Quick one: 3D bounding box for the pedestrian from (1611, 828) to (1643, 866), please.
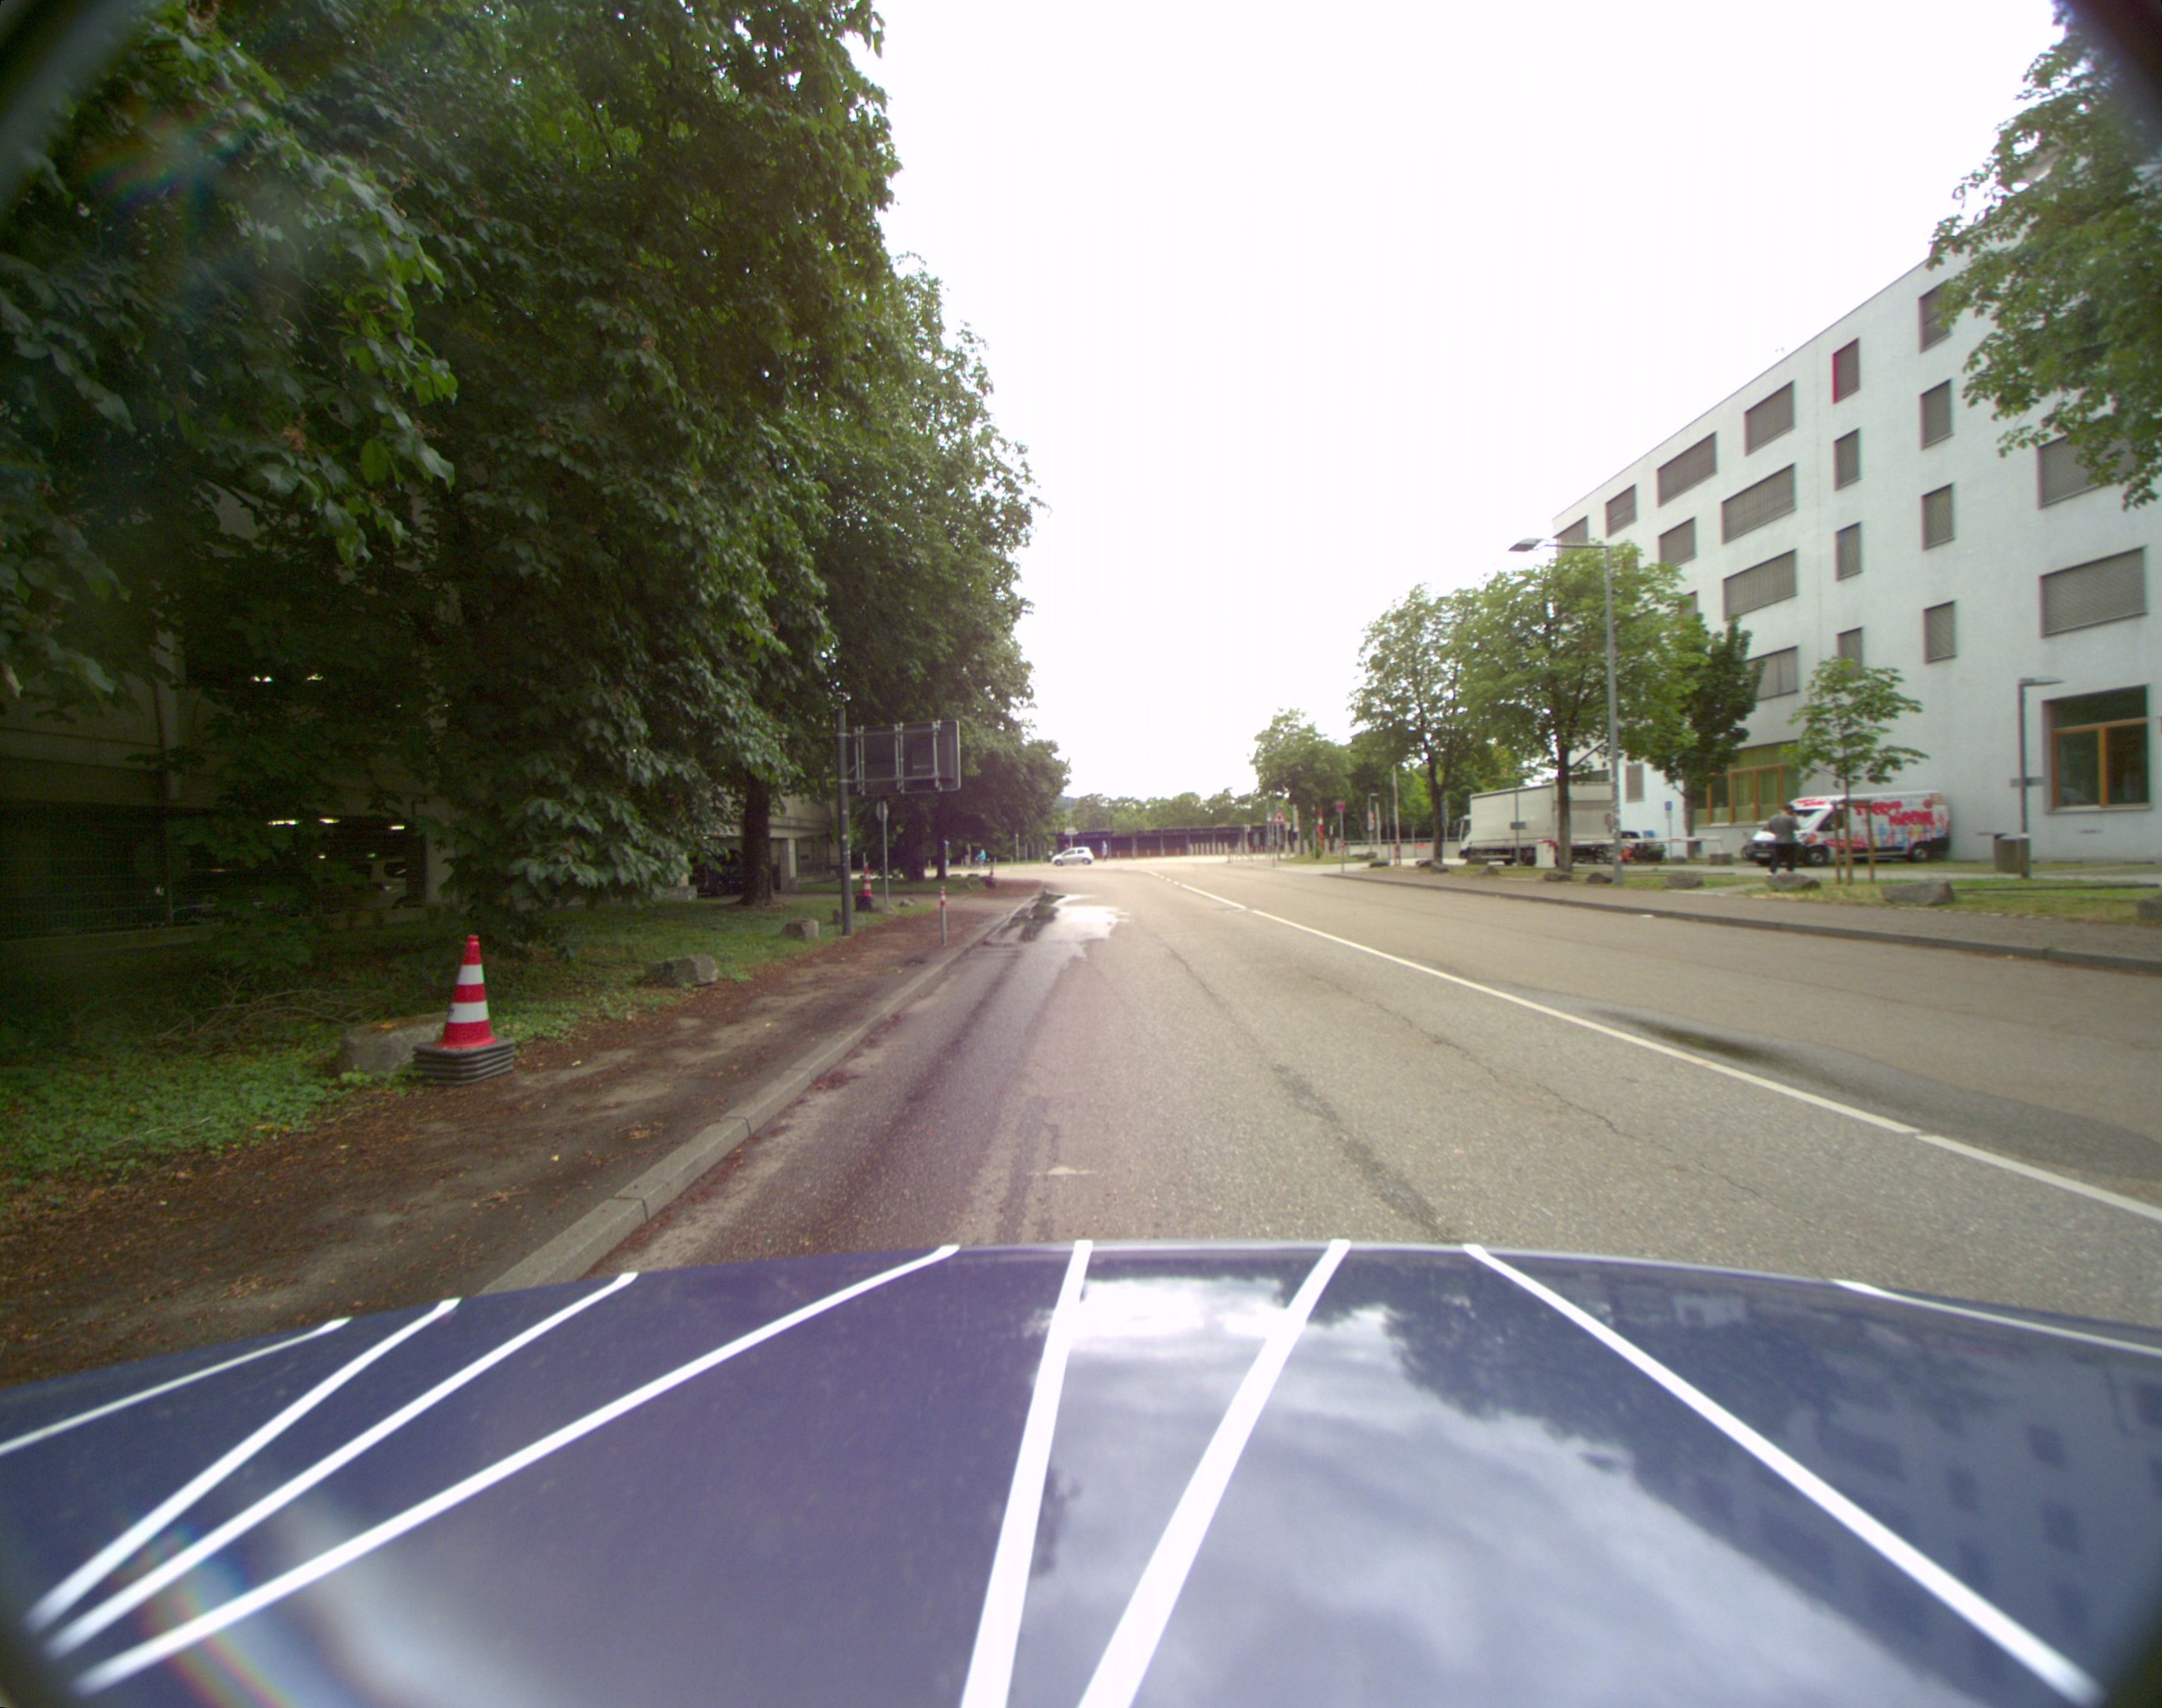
[{"bbox_3d":[23.258,-0.304,32.371,0.679,1.597,0.887,-3,2,-7],"label":"pedestrian"}]

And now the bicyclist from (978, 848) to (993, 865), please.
[{"bbox_3d":[-8.546,0.241,68.025,1.159,1.422,0.742,-3,2,-3],"label":"bicyclist"}]

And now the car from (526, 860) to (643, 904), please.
[{"bbox_3d":[-20.021,1.084,30.858,1.876,1.445,4.000,-3,2,4],"label":"car"}]

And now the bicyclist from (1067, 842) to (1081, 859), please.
[{"bbox_3d":[-0.628,-0.319,68.340,1.101,1.487,0.927,-3,3,-1],"label":"bicyclist"}]

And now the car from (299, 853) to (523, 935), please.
[{"bbox_3d":[-17.254,0.939,19.954,1.589,1.699,4.666,-3,2,1],"label":"car"}]

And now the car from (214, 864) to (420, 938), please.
[{"bbox_3d":[-20.269,1.175,20.415,1.721,1.577,3.690,-3,2,-1],"label":"car"}]

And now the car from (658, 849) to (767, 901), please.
[{"bbox_3d":[-14.660,0.764,30.575,1.924,1.824,4.735,-3,1,0],"label":"car"}]

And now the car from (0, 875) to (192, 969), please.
[{"bbox_3d":[-20.377,1.327,14.770,1.721,1.537,3.700,-3,2,-1],"label":"car"}]

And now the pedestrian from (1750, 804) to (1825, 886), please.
[{"bbox_3d":[15.052,-0.204,16.210,0.845,1.662,0.786,-3,2,-4],"label":"pedestrian"}]

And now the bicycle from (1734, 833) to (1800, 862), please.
[{"bbox_3d":[27.615,-0.264,30.588,2.029,1.064,0.613,-3,2,4],"label":"bicycle"}]

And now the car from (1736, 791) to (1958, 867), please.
[{"bbox_3d":[26.599,-0.868,26.532,5.640,2.266,2.078,-3,2,0],"label":"car"}]

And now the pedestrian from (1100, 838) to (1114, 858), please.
[{"bbox_3d":[2.539,-0.567,73.137,1.200,1.824,0.927,-3,3,4],"label":"pedestrian"}]

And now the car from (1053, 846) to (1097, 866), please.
[{"bbox_3d":[-0.522,0.158,65.185,3.498,1.448,1.607,-3,2,7],"label":"car"}]

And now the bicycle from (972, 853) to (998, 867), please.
[{"bbox_3d":[-8.576,0.554,68.038,2.257,1.117,0.748,-3,2,-3],"label":"bicycle"}]

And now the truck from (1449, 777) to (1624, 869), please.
[{"bbox_3d":[20.446,-1.349,34.888,2.684,3.580,8.361,-3,2,-2],"label":"truck"}]

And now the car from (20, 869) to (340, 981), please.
[{"bbox_3d":[-17.479,1.270,15.087,1.589,1.699,3.856,-3,2,1],"label":"car"}]

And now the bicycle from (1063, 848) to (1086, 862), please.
[{"bbox_3d":[-0.602,0.091,68.358,2.050,1.137,0.777,-3,3,-1],"label":"bicycle"}]
